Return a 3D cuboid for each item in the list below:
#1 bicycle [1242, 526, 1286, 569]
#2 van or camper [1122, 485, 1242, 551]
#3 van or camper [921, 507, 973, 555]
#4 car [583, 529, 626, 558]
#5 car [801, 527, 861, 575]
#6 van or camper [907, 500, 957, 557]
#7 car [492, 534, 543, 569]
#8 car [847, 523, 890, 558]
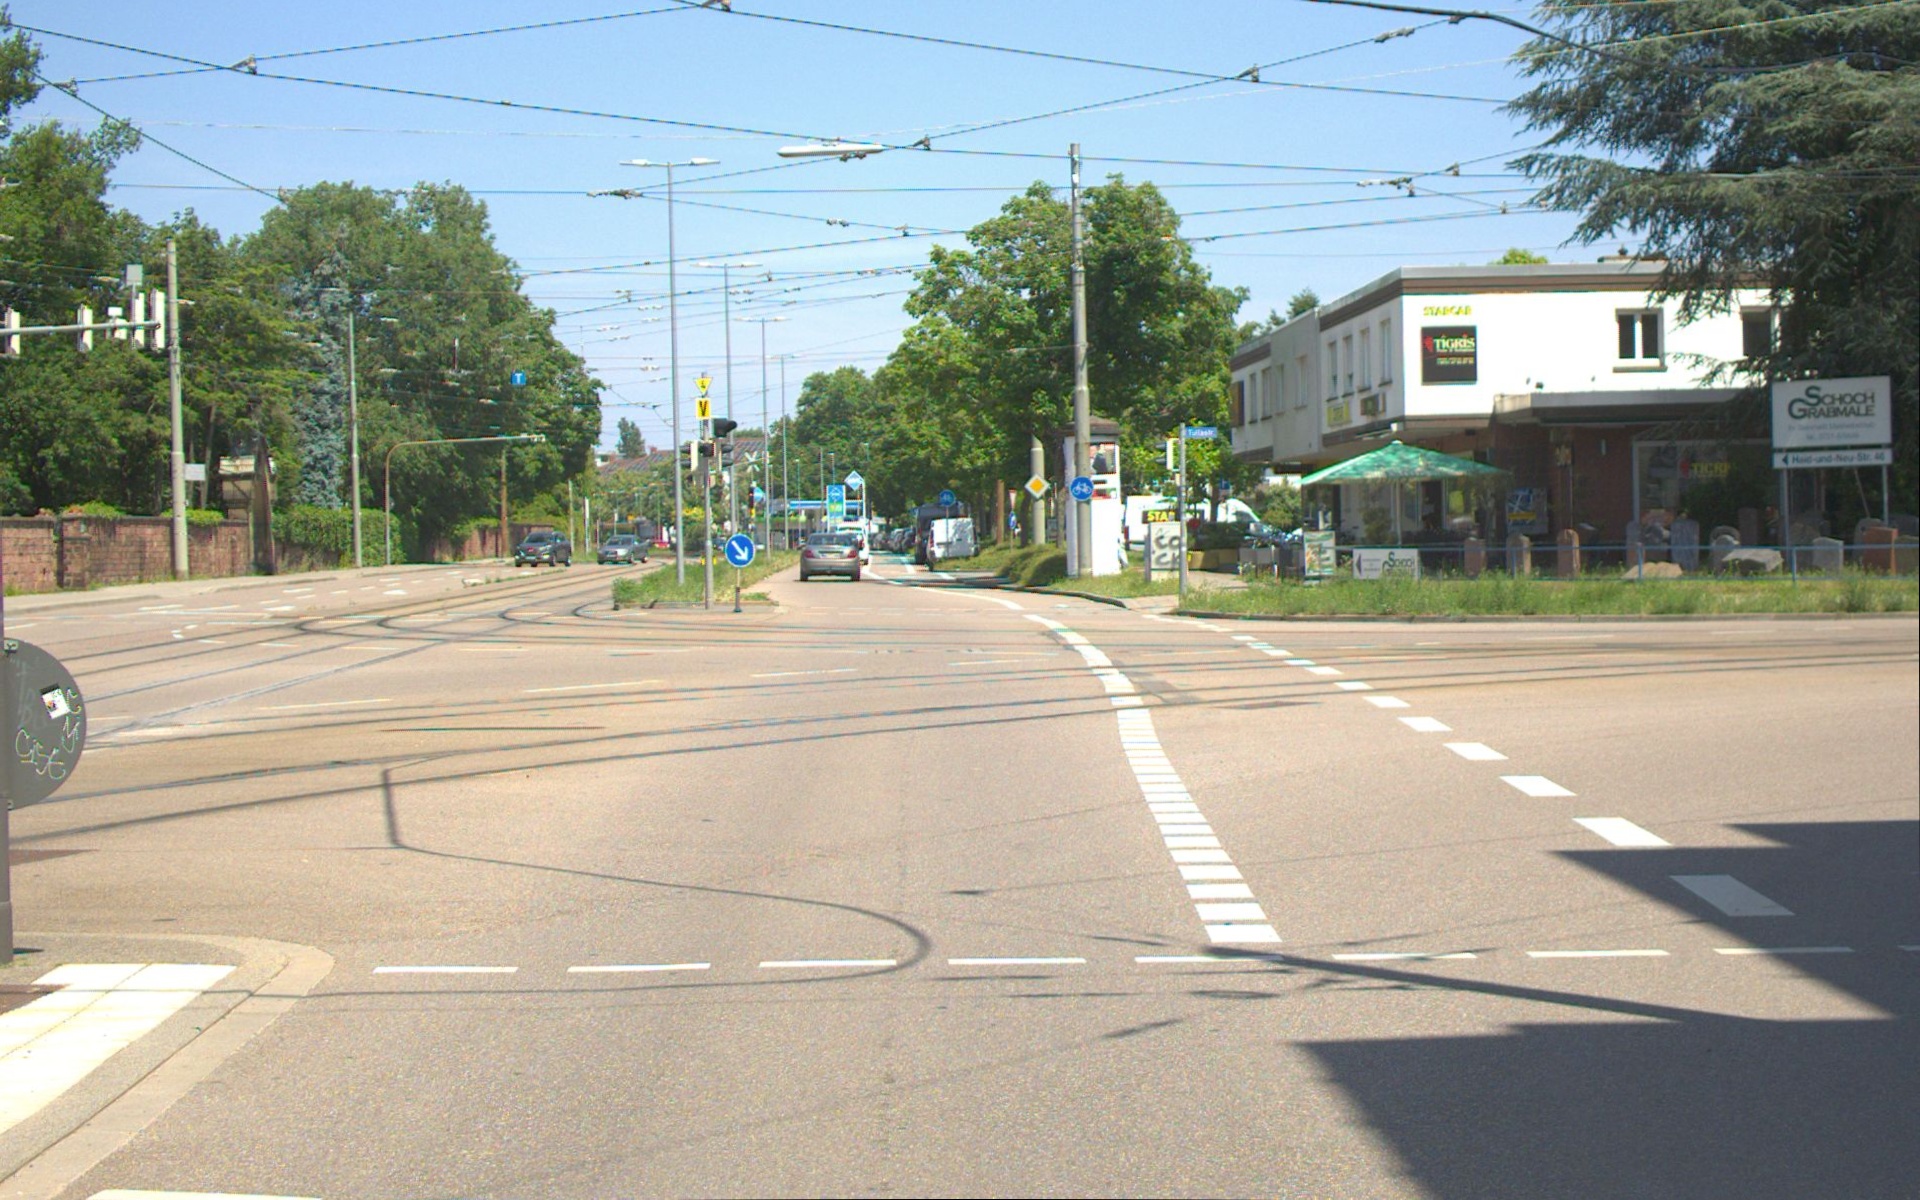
[{"bbox_3d":[7.471,-1.299,84.482,1.034,1.011,2.636,-1,1,6],"label":"bicycle"},{"bbox_3d":[9.244,-3.419,143.367,4.756,2.662,2.136,-1,1,-3],"label":"van or camper"},{"bbox_3d":[-0.502,-2.627,130.351,1.922,1.766,4.000,-1,1,-1],"label":"van or camper"},{"bbox_3d":[-17.781,-2.830,172.224,1.641,1.416,4.168,-1,1,1],"label":"car"},{"bbox_3d":[-3.853,-1.468,102.038,1.636,1.346,3.843,-1,1,-4],"label":"car"},{"bbox_3d":[-1.260,-3.167,152.817,1.993,2.456,4.001,-1,1,-4],"label":"van or camper"},{"bbox_3d":[-20.767,-2.278,161.518,1.820,1.598,4.520,-1,1,0],"label":"car"},{"bbox_3d":[-3.887,-2.535,146.705,1.670,1.430,3.474,-1,1,1],"label":"car"}]
